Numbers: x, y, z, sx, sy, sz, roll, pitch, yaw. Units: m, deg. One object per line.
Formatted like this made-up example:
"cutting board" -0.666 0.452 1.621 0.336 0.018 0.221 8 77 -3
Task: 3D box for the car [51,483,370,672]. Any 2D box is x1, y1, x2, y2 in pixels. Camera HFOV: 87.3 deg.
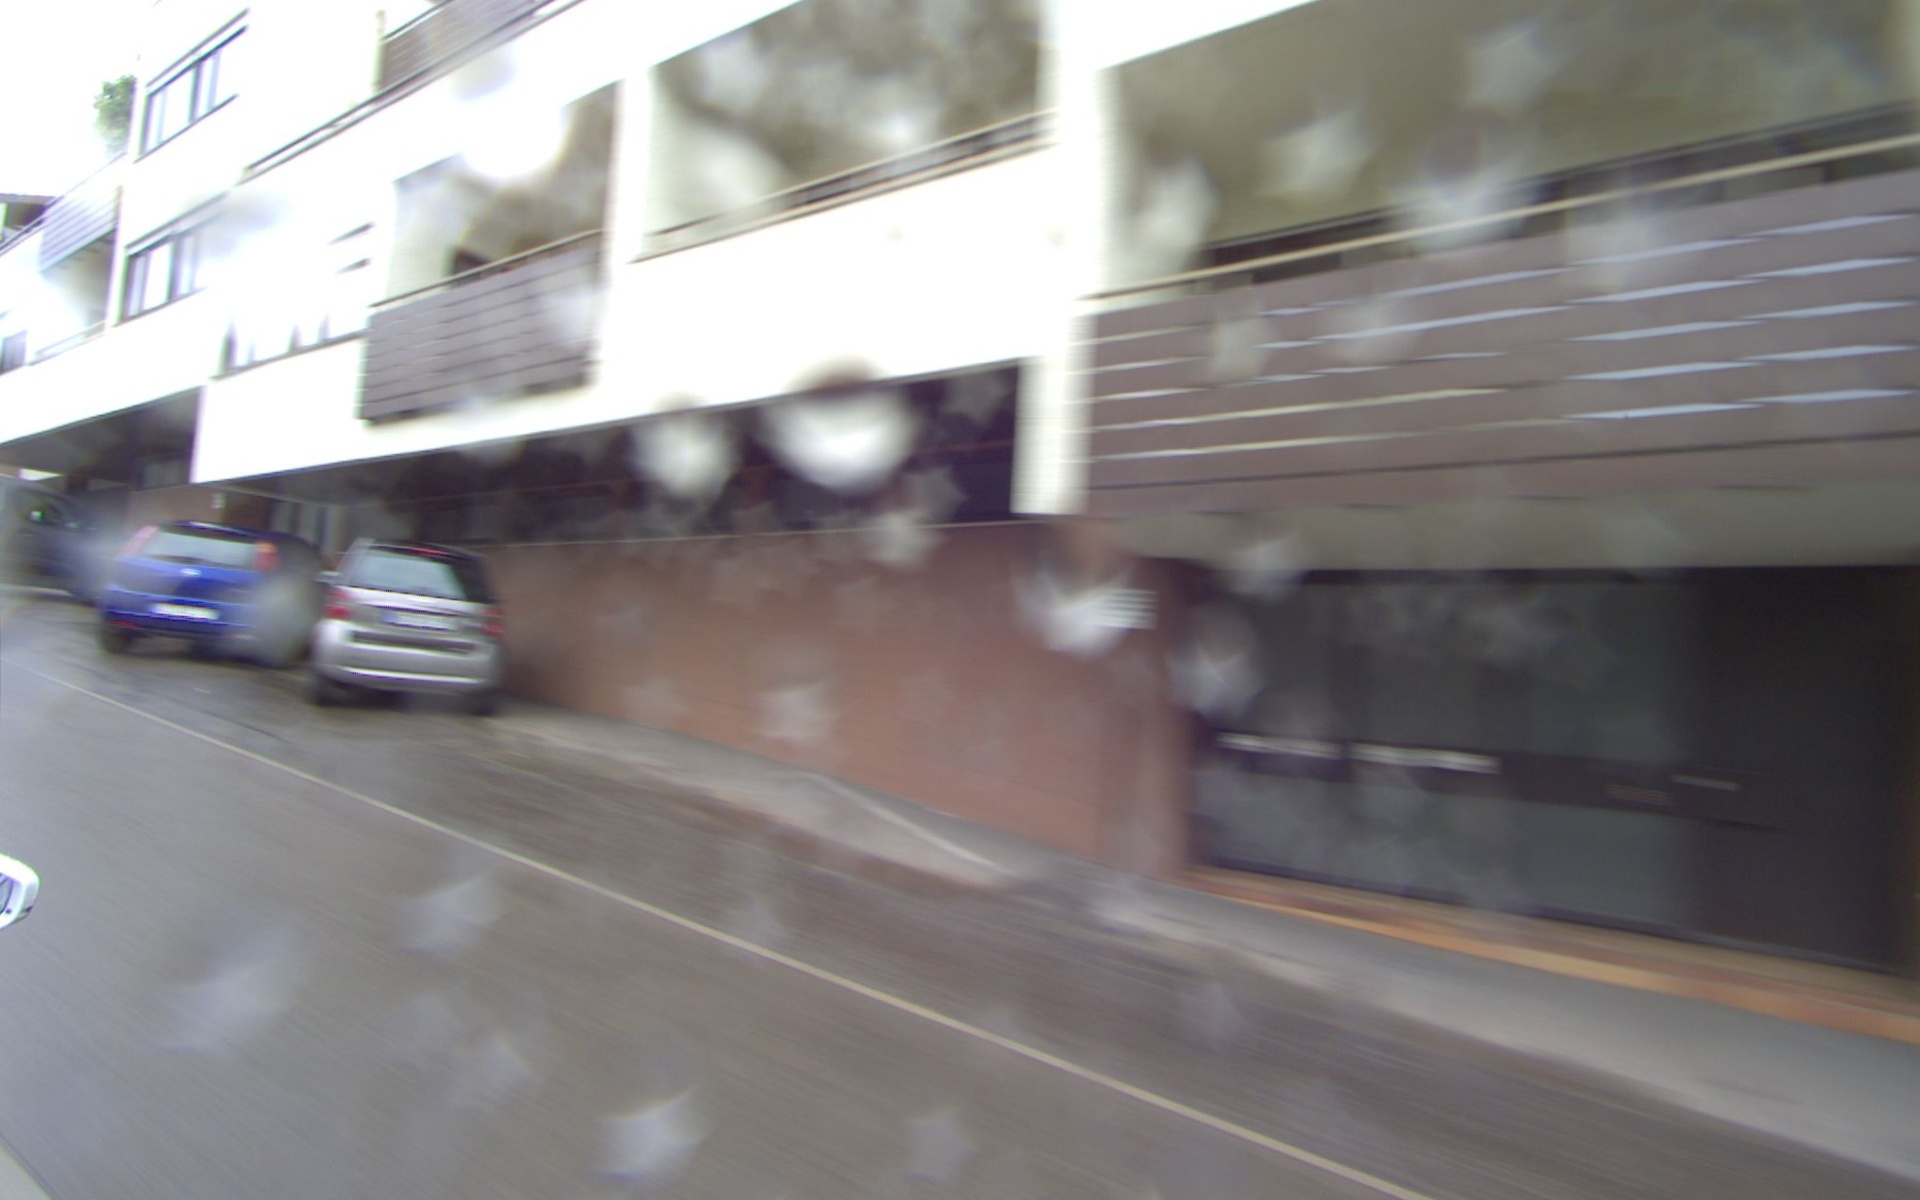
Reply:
"car" -8.576 -0.184 11.988 1.764 1.595 4.051 10 -4 -20

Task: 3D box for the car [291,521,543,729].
"car" -5.827 0.216 10.721 1.771 1.595 4.035 11 -4 -31

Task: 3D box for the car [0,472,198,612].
"car" -14.922 -1.050 15.359 1.966 1.841 4.718 7 -2 31
